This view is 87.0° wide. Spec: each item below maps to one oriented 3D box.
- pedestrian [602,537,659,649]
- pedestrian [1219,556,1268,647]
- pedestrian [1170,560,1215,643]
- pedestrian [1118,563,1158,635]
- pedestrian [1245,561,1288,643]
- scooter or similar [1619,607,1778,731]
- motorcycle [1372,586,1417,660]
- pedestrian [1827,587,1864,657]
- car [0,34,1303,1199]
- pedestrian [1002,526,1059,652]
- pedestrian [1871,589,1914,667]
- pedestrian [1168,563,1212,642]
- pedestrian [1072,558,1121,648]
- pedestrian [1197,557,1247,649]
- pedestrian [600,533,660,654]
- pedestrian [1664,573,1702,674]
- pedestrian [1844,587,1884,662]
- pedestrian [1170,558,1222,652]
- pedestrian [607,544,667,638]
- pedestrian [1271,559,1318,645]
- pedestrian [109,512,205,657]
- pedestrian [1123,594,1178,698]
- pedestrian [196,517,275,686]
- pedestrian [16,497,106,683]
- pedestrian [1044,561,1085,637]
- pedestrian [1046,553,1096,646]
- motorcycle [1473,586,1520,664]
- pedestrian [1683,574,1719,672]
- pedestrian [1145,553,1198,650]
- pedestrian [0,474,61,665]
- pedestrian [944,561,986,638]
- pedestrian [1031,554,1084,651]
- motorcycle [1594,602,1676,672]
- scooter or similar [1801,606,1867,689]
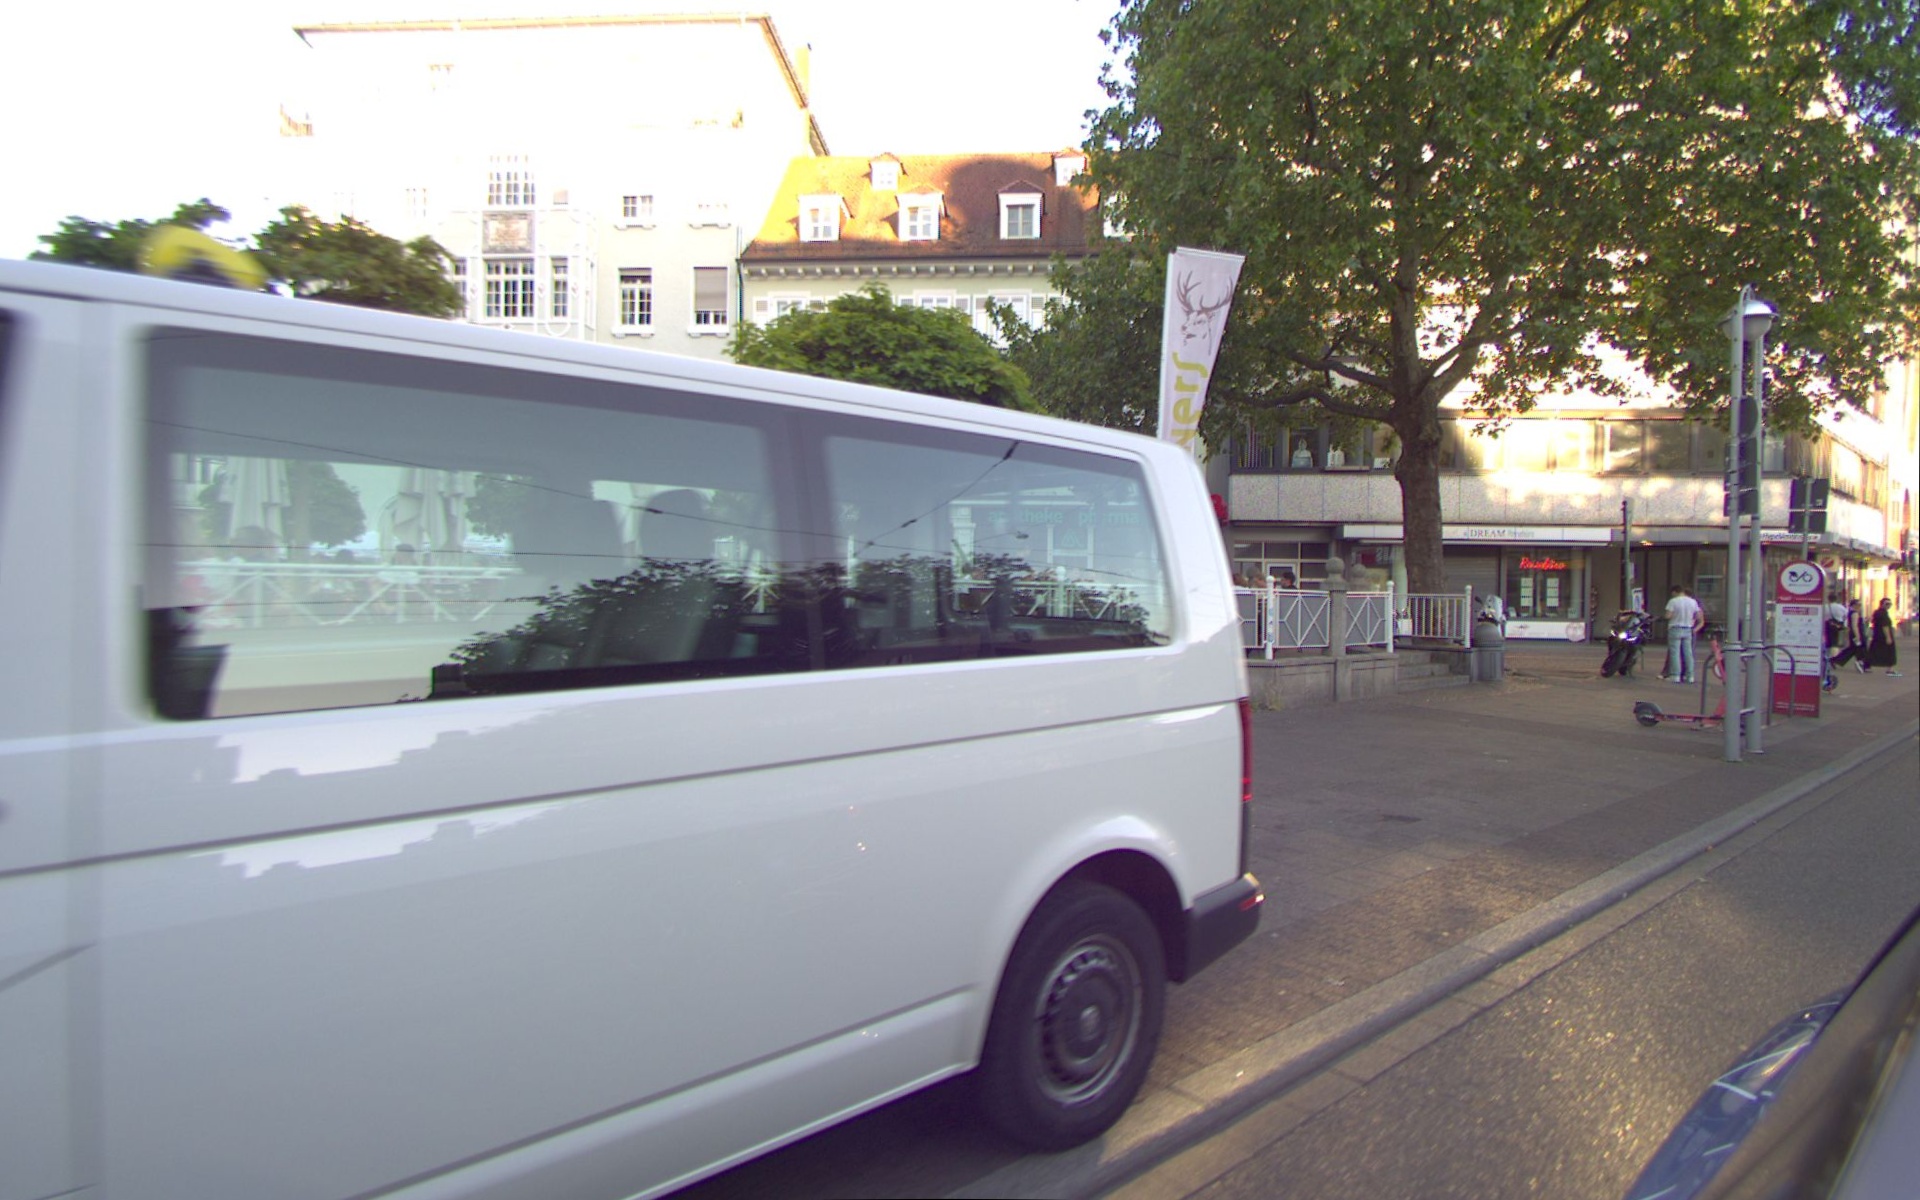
[{"bbox_3d":[-4.105,-0.087,12.614,0.523,1.350,0.490,1,0,-40],"label":"pedestrian"},{"bbox_3d":[4.300,0.019,15.360,0.482,1.350,0.531,1,0,-40],"label":"pedestrian"},{"bbox_3d":[3.760,0.022,16.369,0.482,1.313,0.531,1,0,-40],"label":"pedestrian"},{"bbox_3d":[3.314,-0.019,18.828,0.482,1.313,0.531,1,0,-40],"label":"pedestrian"},{"bbox_3d":[5.180,0.027,17.102,0.523,1.350,0.490,1,0,-40],"label":"pedestrian"},{"bbox_3d":[8.365,0.740,11.502,0.526,1.247,1.343,0,3,-42],"label":"scooter or similar"},{"bbox_3d":[8.996,0.485,21.018,0.697,1.424,1.954,2,-1,20],"label":"motorcycle"},{"bbox_3d":[21.393,0.519,24.460,0.635,1.646,0.512,0,1,39],"label":"pedestrian"},{"bbox_3d":[-1.470,0.324,2.243,5.123,2.093,1.856,0,1,-40],"label":"car"},{"bbox_3d":[0.902,-0.138,12.996,0.523,1.578,0.490,1,0,-40],"label":"pedestrian"},{"bbox_3d":[20.184,0.587,21.913,0.635,1.646,0.512,0,1,39],"label":"pedestrian"},{"bbox_3d":[3.863,0.037,17.021,0.482,1.313,0.531,1,0,-40],"label":"pedestrian"},{"bbox_3d":[2.039,0.036,15.166,0.482,1.313,0.531,1,0,-40],"label":"pedestrian"},{"bbox_3d":[3.842,0.044,14.849,0.482,1.313,0.531,1,0,-40],"label":"pedestrian"},{"bbox_3d":[-3.804,-0.073,11.675,0.482,1.350,0.531,1,0,-40],"label":"pedestrian"},{"bbox_3d":[12.911,0.408,18.068,0.403,1.758,0.430,1,1,-44],"label":"pedestrian"},{"bbox_3d":[20.382,0.533,22.830,0.635,1.646,0.512,0,1,39],"label":"pedestrian"},{"bbox_3d":[3.376,0.067,14.492,0.482,1.313,0.531,1,0,-40],"label":"pedestrian"},{"bbox_3d":[-4.787,-0.132,15.000,0.653,1.350,0.628,1,0,-40],"label":"pedestrian"},{"bbox_3d":[5.341,0.029,16.146,0.482,1.350,0.531,1,0,-40],"label":"pedestrian"},{"bbox_3d":[-7.378,-0.142,9.302,0.486,1.282,0.527,1,0,26],"label":"pedestrian"},{"bbox_3d":[2.556,0.600,13.575,0.482,1.350,0.531,1,0,-40],"label":"pedestrian"},{"bbox_3d":[-6.017,0.009,8.405,0.482,1.350,0.531,1,0,-40],"label":"pedestrian"},{"bbox_3d":[-6.825,-0.078,7.699,0.482,1.350,0.531,1,0,-40],"label":"pedestrian"},{"bbox_3d":[1.833,-0.023,17.773,0.482,1.313,0.531,1,0,-40],"label":"pedestrian"},{"bbox_3d":[1.616,-0.009,14.717,0.482,1.313,0.531,1,0,-40],"label":"pedestrian"},{"bbox_3d":[10.590,0.503,19.950,0.700,1.424,1.946,2,-1,31],"label":"motorcycle"},{"bbox_3d":[13.610,0.416,18.592,0.428,1.758,0.405,2,1,31],"label":"pedestrian"},{"bbox_3d":[2.927,0.020,14.020,0.482,1.313,0.531,1,0,-40],"label":"pedestrian"},{"bbox_3d":[-8.775,-0.276,9.282,0.588,1.713,0.721,1,0,43],"label":"pedestrian"},{"bbox_3d":[0.087,-0.019,17.604,0.482,1.313,0.531,1,0,-40],"label":"pedestrian"},{"bbox_3d":[1.345,0.030,13.975,0.523,1.313,0.490,1,0,-40],"label":"pedestrian"},{"bbox_3d":[12.359,0.654,18.510,1.933,1.200,0.705,1,1,-40],"label":"motorcycle"},{"bbox_3d":[14.227,0.739,16.466,1.627,1.247,0.534,0,3,-41],"label":"scooter or similar"}]
